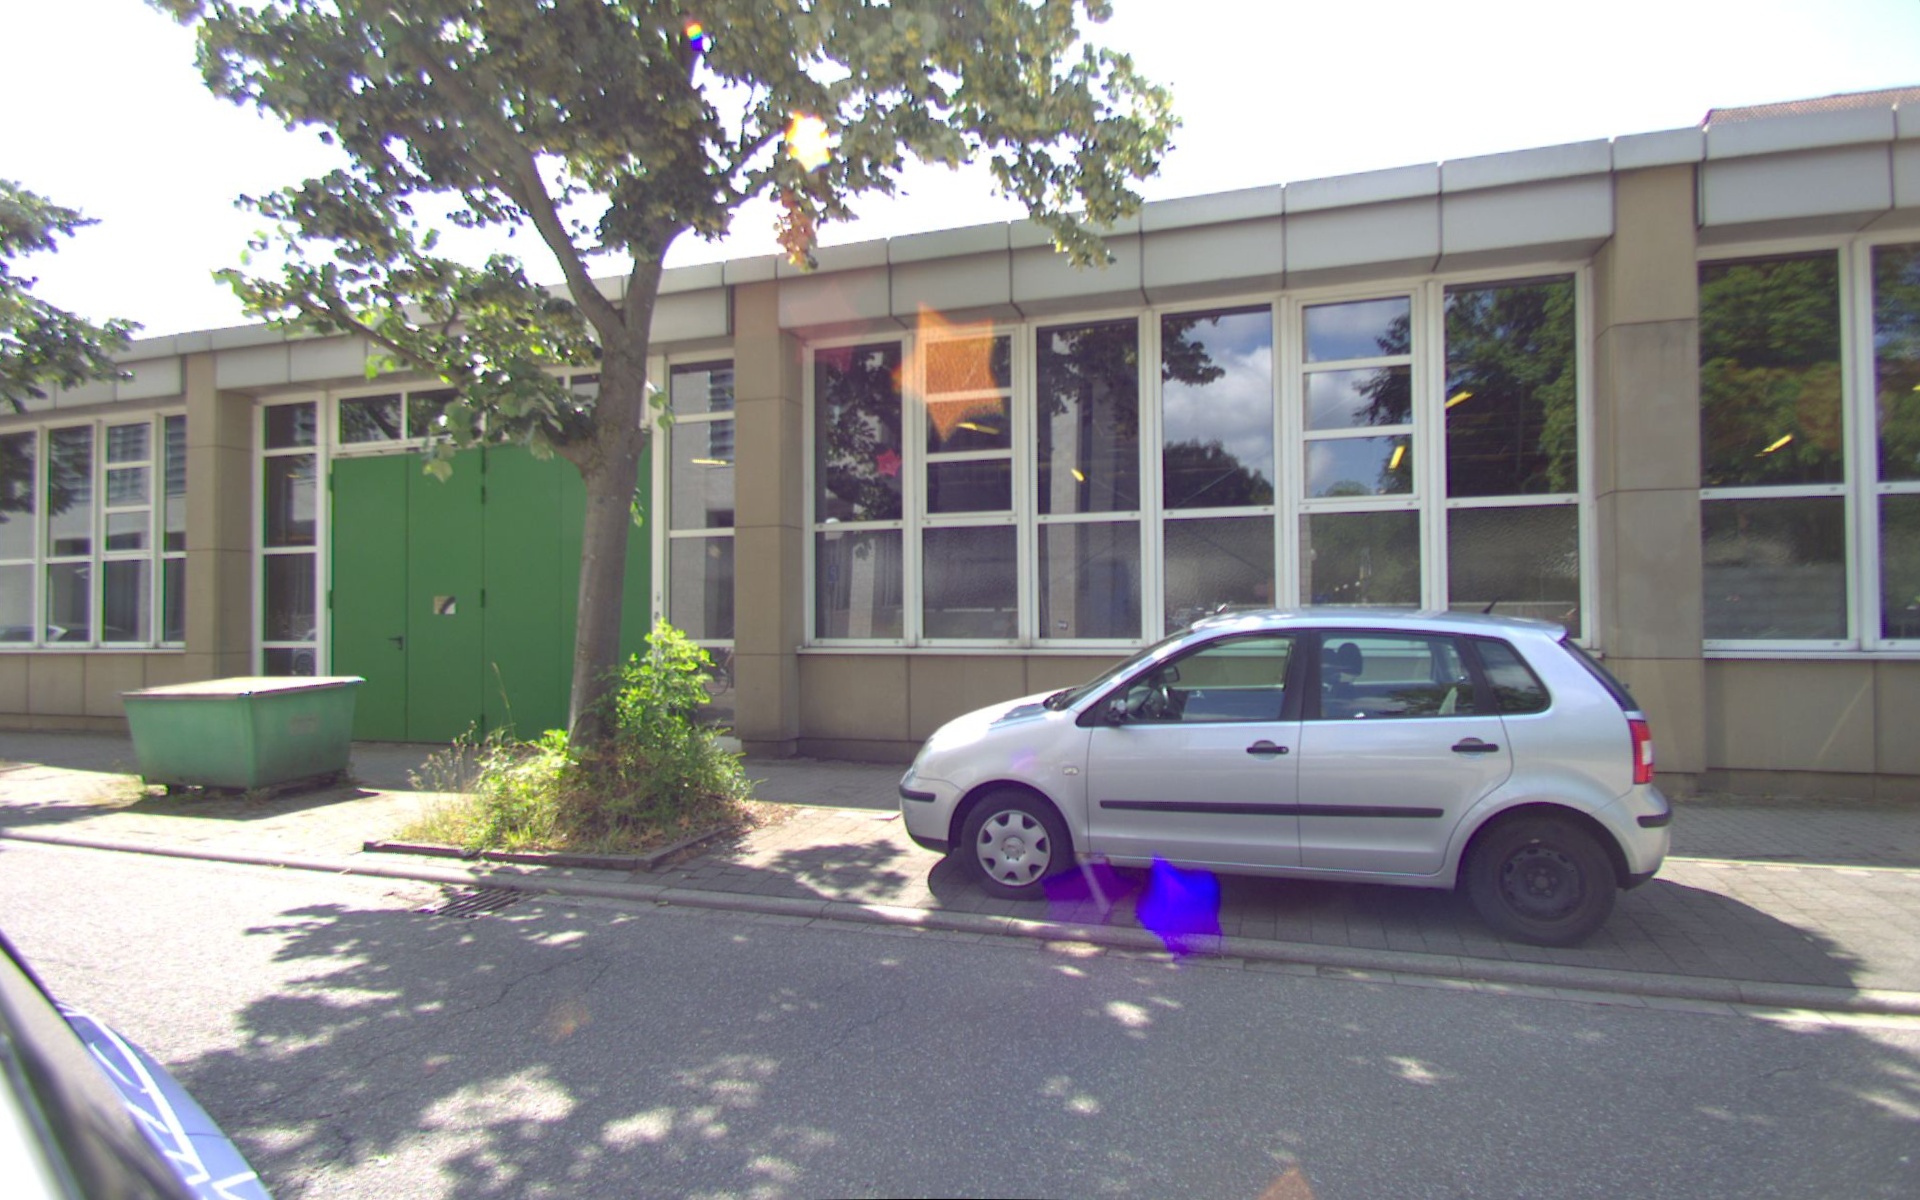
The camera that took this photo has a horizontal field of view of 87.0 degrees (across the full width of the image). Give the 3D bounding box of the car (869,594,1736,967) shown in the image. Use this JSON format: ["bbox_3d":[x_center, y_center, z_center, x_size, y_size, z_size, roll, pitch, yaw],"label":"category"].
[{"bbox_3d":[1.567,0.754,5.439,3.748,1.487,1.643,-1,0,18],"label":"car"}]

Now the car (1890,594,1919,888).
[{"bbox_3d":[6.627,0.653,3.849,4.177,1.487,1.644,-2,0,18],"label":"car"}]
